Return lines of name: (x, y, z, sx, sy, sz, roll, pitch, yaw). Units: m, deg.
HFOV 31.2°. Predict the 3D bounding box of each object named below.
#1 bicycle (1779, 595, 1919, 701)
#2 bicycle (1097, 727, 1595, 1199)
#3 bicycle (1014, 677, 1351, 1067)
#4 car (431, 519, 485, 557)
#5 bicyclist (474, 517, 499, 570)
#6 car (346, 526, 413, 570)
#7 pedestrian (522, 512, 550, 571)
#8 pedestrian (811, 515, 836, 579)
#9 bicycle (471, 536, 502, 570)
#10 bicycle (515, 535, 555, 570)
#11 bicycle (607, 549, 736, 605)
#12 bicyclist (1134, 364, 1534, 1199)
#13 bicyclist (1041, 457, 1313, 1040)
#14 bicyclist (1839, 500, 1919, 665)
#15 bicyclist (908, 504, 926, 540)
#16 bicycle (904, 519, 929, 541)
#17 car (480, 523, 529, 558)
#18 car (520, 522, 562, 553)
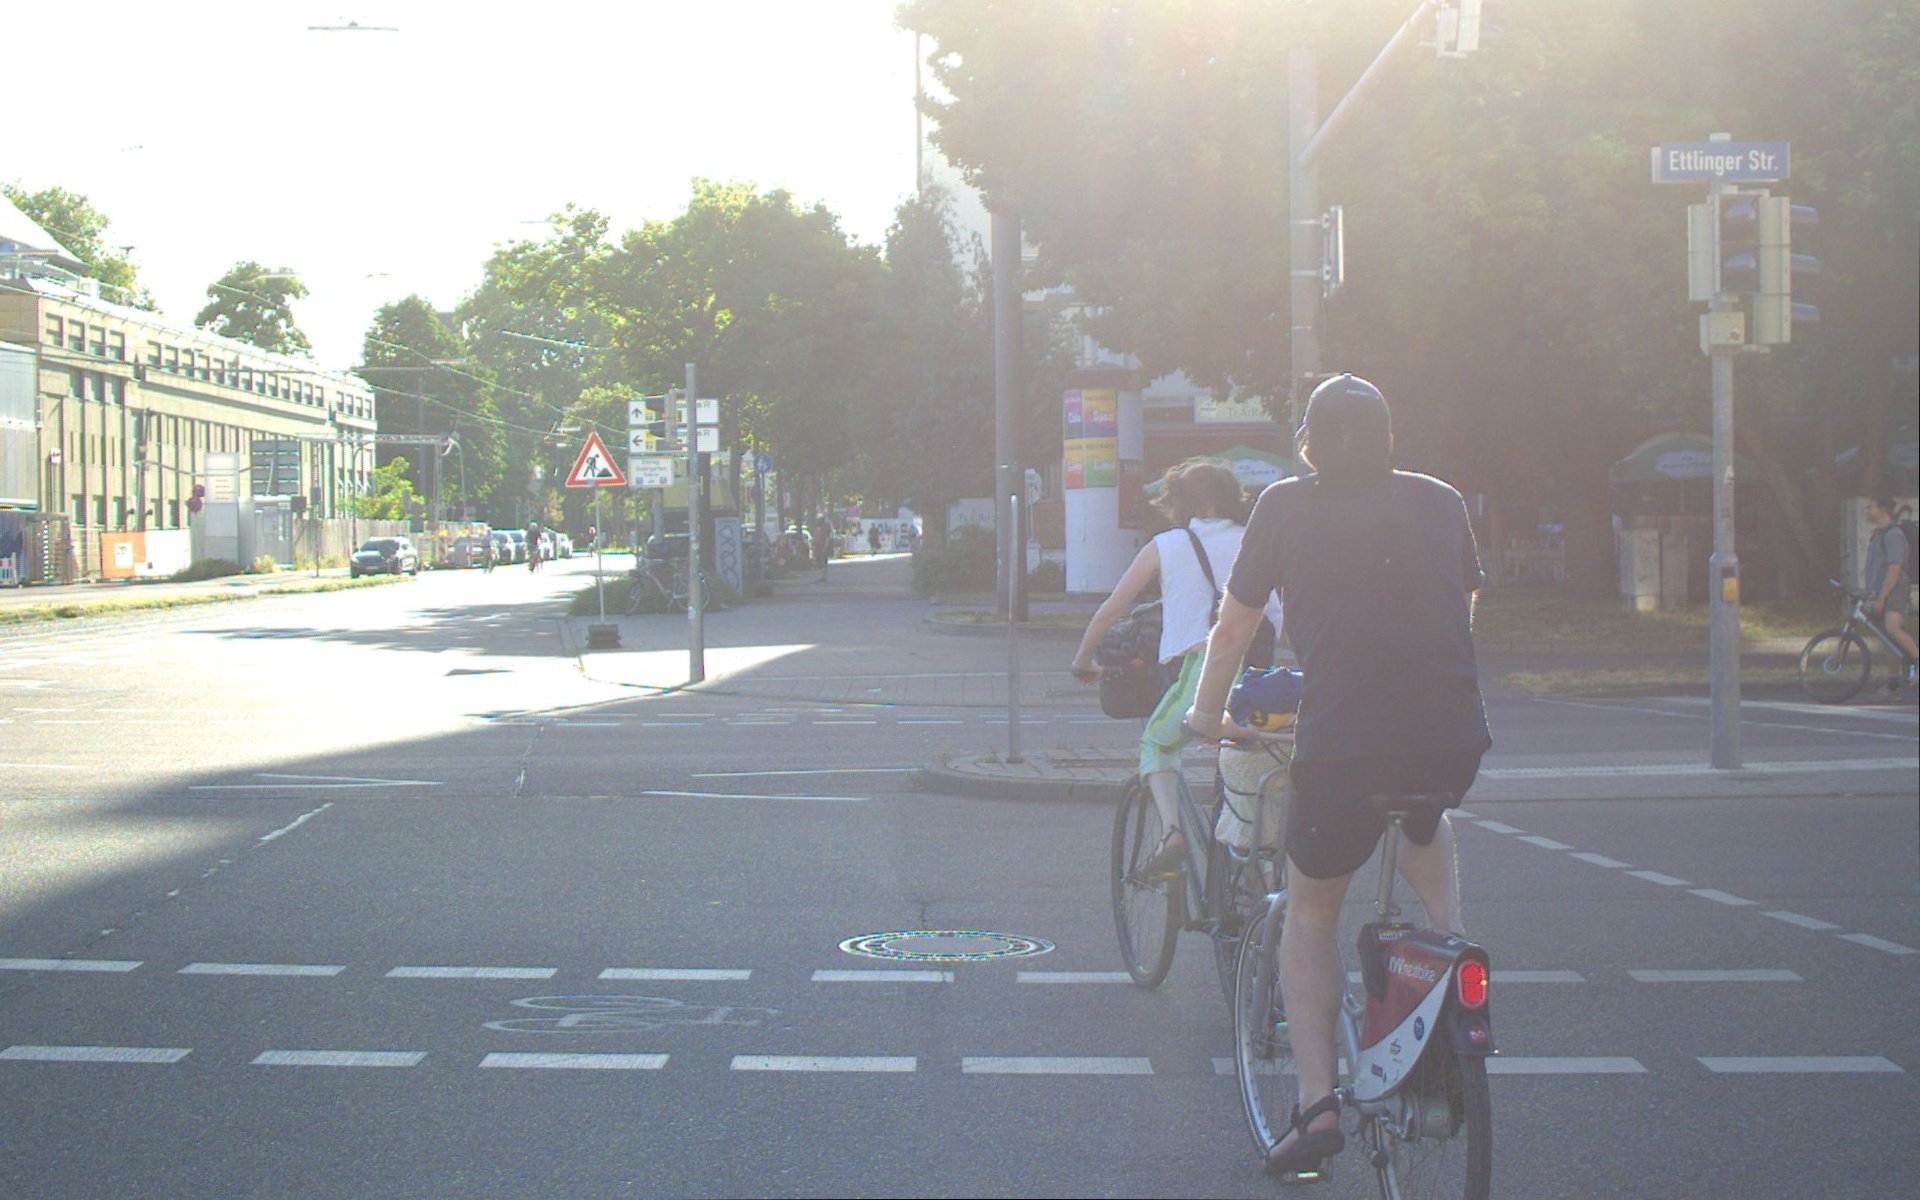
bicycle: (8.101, 0.412, 29.646, 1.944, 0.886, 0.718, 0, 0, 6)
bicycle: (0.785, 0.850, 7.493, 0.623, 1.040, 1.747, -1, 1, -9)
bicycle: (0.660, 0.801, 10.779, 0.582, 1.040, 1.747, -1, 1, -12)
car: (-22.401, -2.784, 153.485, 1.993, 1.656, 4.001, -1, 1, -3)
bicyclist: (-17.314, -2.076, 125.764, 0.750, 1.913, 1.215, 1, 0, -1)
car: (-21.776, -1.960, 129.055, 1.993, 1.593, 4.001, -1, 1, -3)
pedestrian: (-14.848, -2.055, 120.287, 0.751, 2.056, 1.050, 1, 0, 5)
pedestrian: (-3.619, -1.412, 90.926, 0.576, 1.683, 0.585, -1, 1, -7)
bicycle: (-17.306, -1.719, 125.676, 0.750, 1.201, 3.108, 1, 1, -2)
bicycle: (-14.850, -1.640, 120.225, 0.751, 1.201, 3.107, 1, 1, 5)
bicycle: (-5.079, -0.406, 60.494, 2.244, 0.937, 0.654, -1, 1, -5)
bicyclist: (0.792, 0.366, 7.483, 0.623, 1.709, 0.913, -1, 1, -9)
bicyclist: (0.665, 0.433, 10.754, 0.583, 1.732, 0.950, -1, 1, -13)
bicyclist: (8.016, -0.151, 29.645, 0.747, 1.401, 0.702, 1, 0, 6)
bicyclist: (-2.408, -4.360, 193.461, 0.890, 2.007, 0.749, 0, 0, -12)
bicycle: (-2.428, -3.953, 193.491, 0.890, 1.215, 2.794, 0, 1, -12)
car: (-22.080, -2.908, 166.828, 1.993, 1.656, 4.001, -1, 1, -3)
car: (-22.902, -3.420, 188.003, 1.993, 1.638, 4.001, -1, 1, -4)
